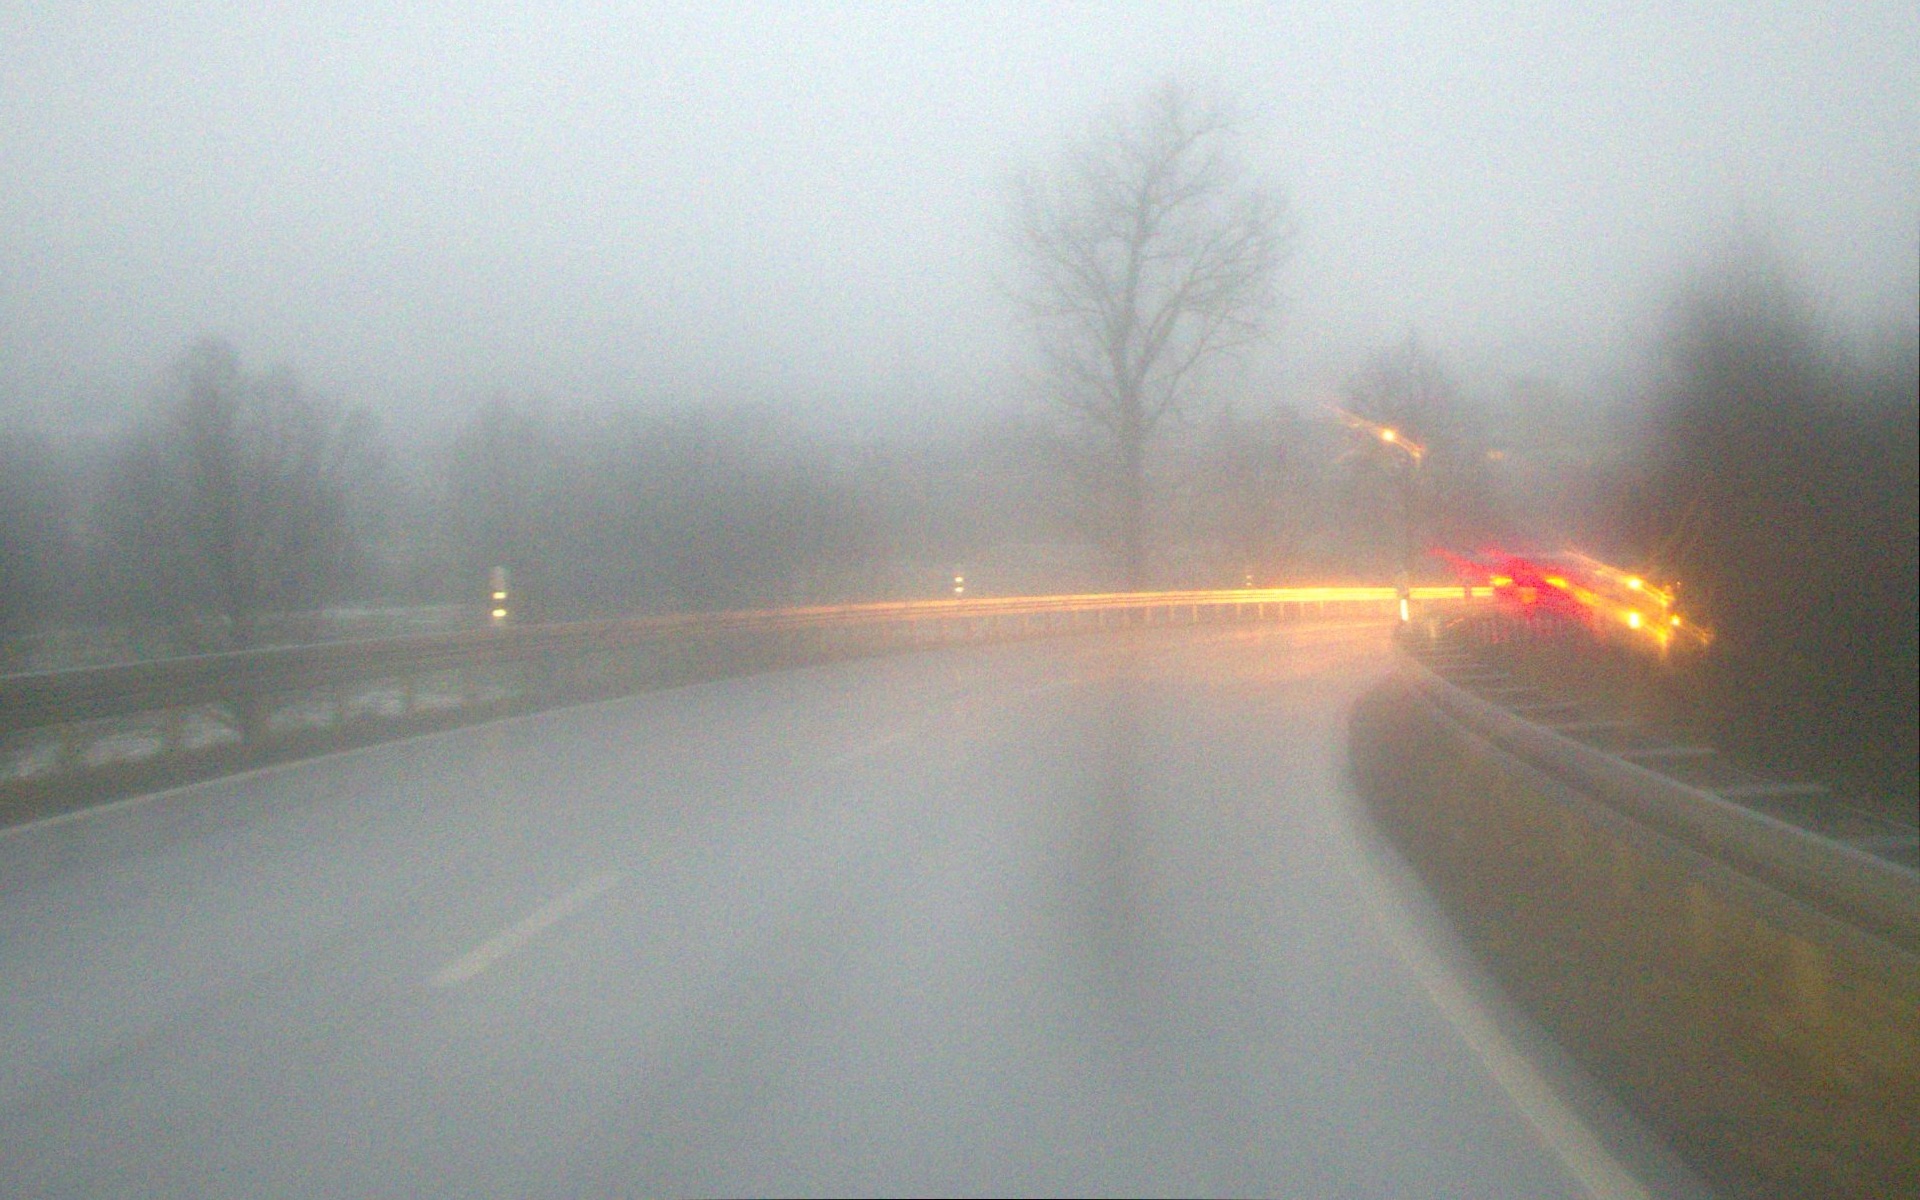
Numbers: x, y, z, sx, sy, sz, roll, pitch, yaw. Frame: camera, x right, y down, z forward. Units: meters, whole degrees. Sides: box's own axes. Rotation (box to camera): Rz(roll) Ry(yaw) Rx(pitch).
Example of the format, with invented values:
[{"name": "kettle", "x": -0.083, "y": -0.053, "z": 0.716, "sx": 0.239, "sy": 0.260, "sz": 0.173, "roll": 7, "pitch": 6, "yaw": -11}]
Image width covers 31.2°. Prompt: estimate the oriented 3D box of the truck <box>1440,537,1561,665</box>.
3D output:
[{"name": "truck", "x": 12.701, "y": 0.008, "z": 81.156, "sx": 2.532, "sy": 2.859, "sz": 5.920, "roll": 1, "pitch": 0, "yaw": 7}]
